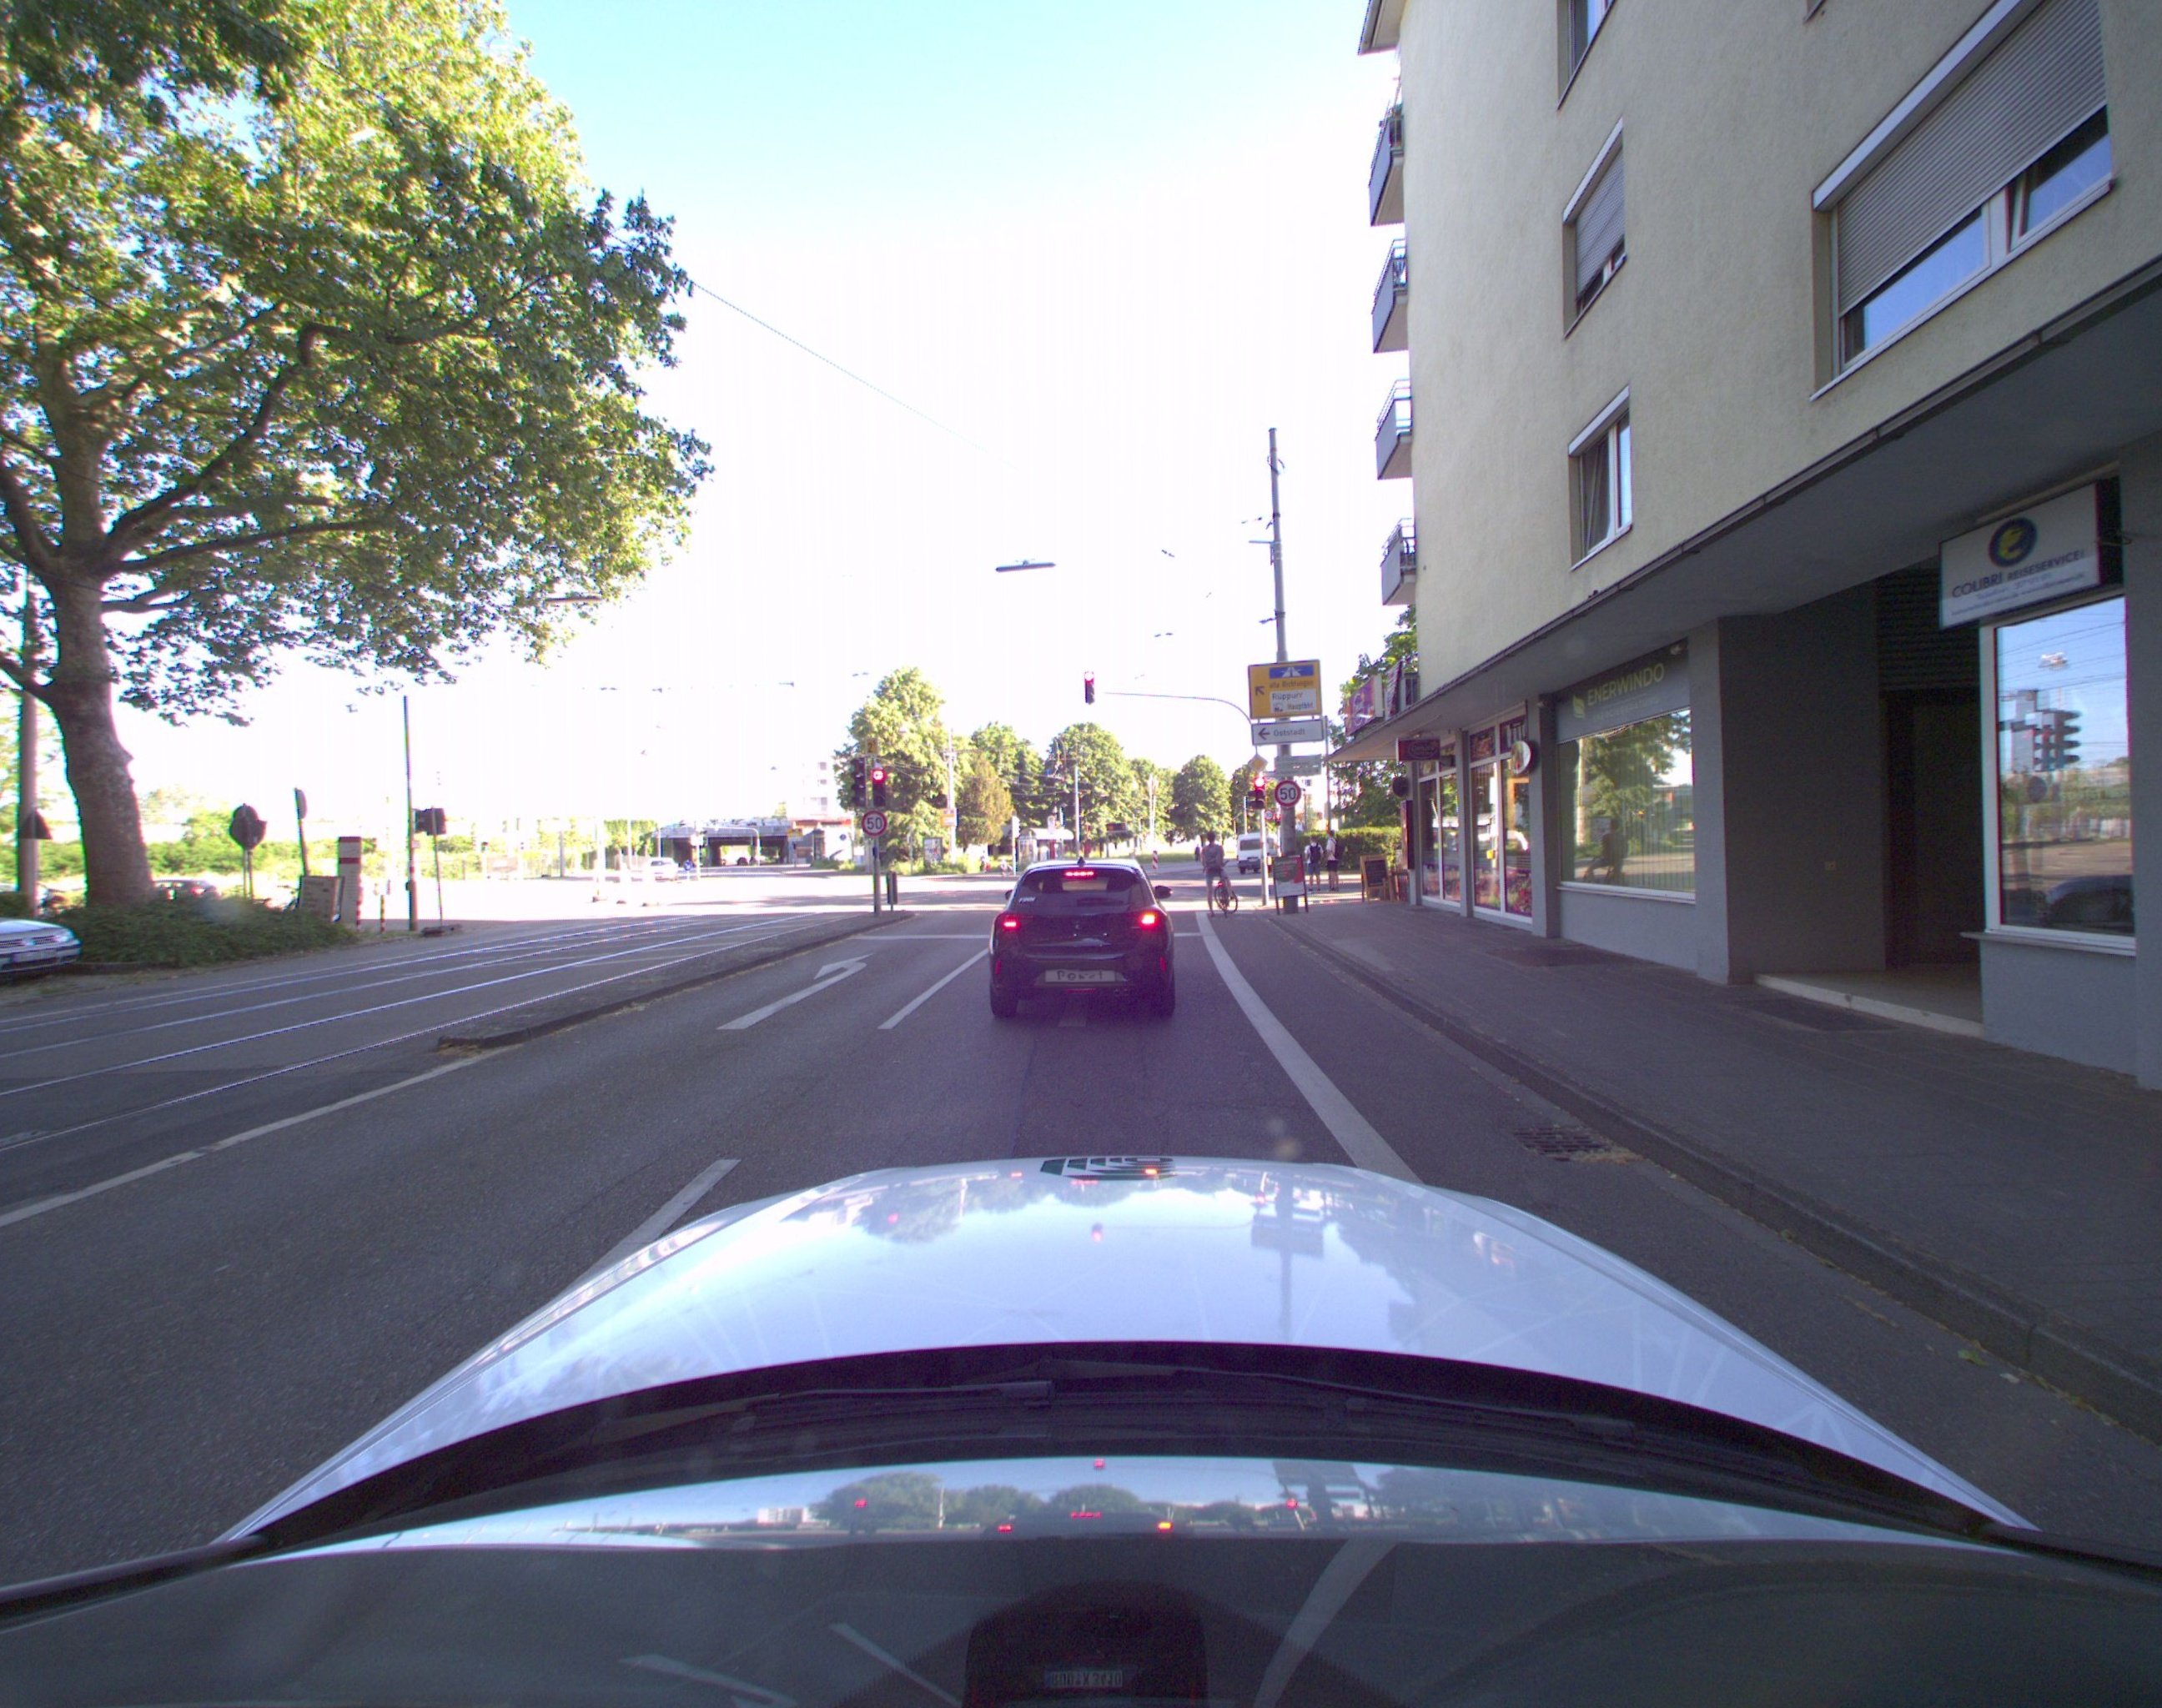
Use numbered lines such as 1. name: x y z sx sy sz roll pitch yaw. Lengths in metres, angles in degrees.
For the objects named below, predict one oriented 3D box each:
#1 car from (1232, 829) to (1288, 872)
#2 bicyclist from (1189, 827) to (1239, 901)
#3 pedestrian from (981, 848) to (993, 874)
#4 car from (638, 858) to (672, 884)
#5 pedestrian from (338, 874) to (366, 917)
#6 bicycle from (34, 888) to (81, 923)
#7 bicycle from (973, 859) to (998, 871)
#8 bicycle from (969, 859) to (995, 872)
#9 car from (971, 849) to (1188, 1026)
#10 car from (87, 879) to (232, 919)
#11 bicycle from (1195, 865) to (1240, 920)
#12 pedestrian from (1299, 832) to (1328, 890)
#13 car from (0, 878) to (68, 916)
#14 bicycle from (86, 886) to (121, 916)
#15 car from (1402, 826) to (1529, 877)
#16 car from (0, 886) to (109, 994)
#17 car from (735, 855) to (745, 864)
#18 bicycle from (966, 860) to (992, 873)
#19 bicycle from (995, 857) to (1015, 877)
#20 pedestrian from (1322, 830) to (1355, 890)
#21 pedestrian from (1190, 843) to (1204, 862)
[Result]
1. car: 10.139 -0.176 45.941 2.070 2.277 4.331 -1 -1 26
2. bicyclist: 2.875 0.206 17.711 0.837 1.510 1.368 -2 0 0
3. pedestrian: -6.301 0.447 54.541 0.725 1.693 0.699 -2 0 -8
4. car: -29.588 1.157 56.491 2.006 1.631 4.587 -2 1 -29
5. pedestrian: -27.805 1.577 31.086 0.602 1.596 0.679 0 -1 -24
6. bicycle: -25.053 1.240 19.950 0.360 0.759 1.759 -2 0 -40
7. bicycle: -7.751 0.927 66.043 1.866 0.906 0.661 -2 0 8
8. bicycle: -7.928 0.921 65.176 1.866 0.906 0.661 -2 0 8
9. car: 0.101 0.696 8.825 1.793 1.441 3.943 -2 0 3
10. car: -43.229 2.069 38.360 4.006 1.419 1.880 -1 6 -25
11. bicycle: 2.929 0.802 17.687 0.665 1.059 2.083 -2 0 2
12. pedestrian: 7.258 0.217 25.443 0.696 1.792 0.617 -2 0 1
13. car: -48.403 1.931 36.012 4.006 1.419 1.880 -1 6 -25
14. bicycle: -26.290 1.240 21.896 1.757 0.759 0.360 -1 0 32
15. car: 15.127 -0.062 32.230 4.150 1.814 1.811 -2 -3 10
16. car: -16.675 1.204 11.332 3.980 1.417 1.701 0 -1 -5
17. car: -74.843 1.273 178.706 2.003 2.014 3.967 0 -1 -25
18. bicycle: -8.054 0.974 64.194 1.866 0.906 0.661 -2 0 8
19. bicycle: -4.368 0.749 46.887 0.821 1.059 1.885 -2 0 4
20. pedestrian: 8.052 0.183 25.469 0.696 1.846 0.705 -2 0 41
21. pedestrian: 10.869 -0.143 76.339 0.949 1.793 1.002 -2 0 27
